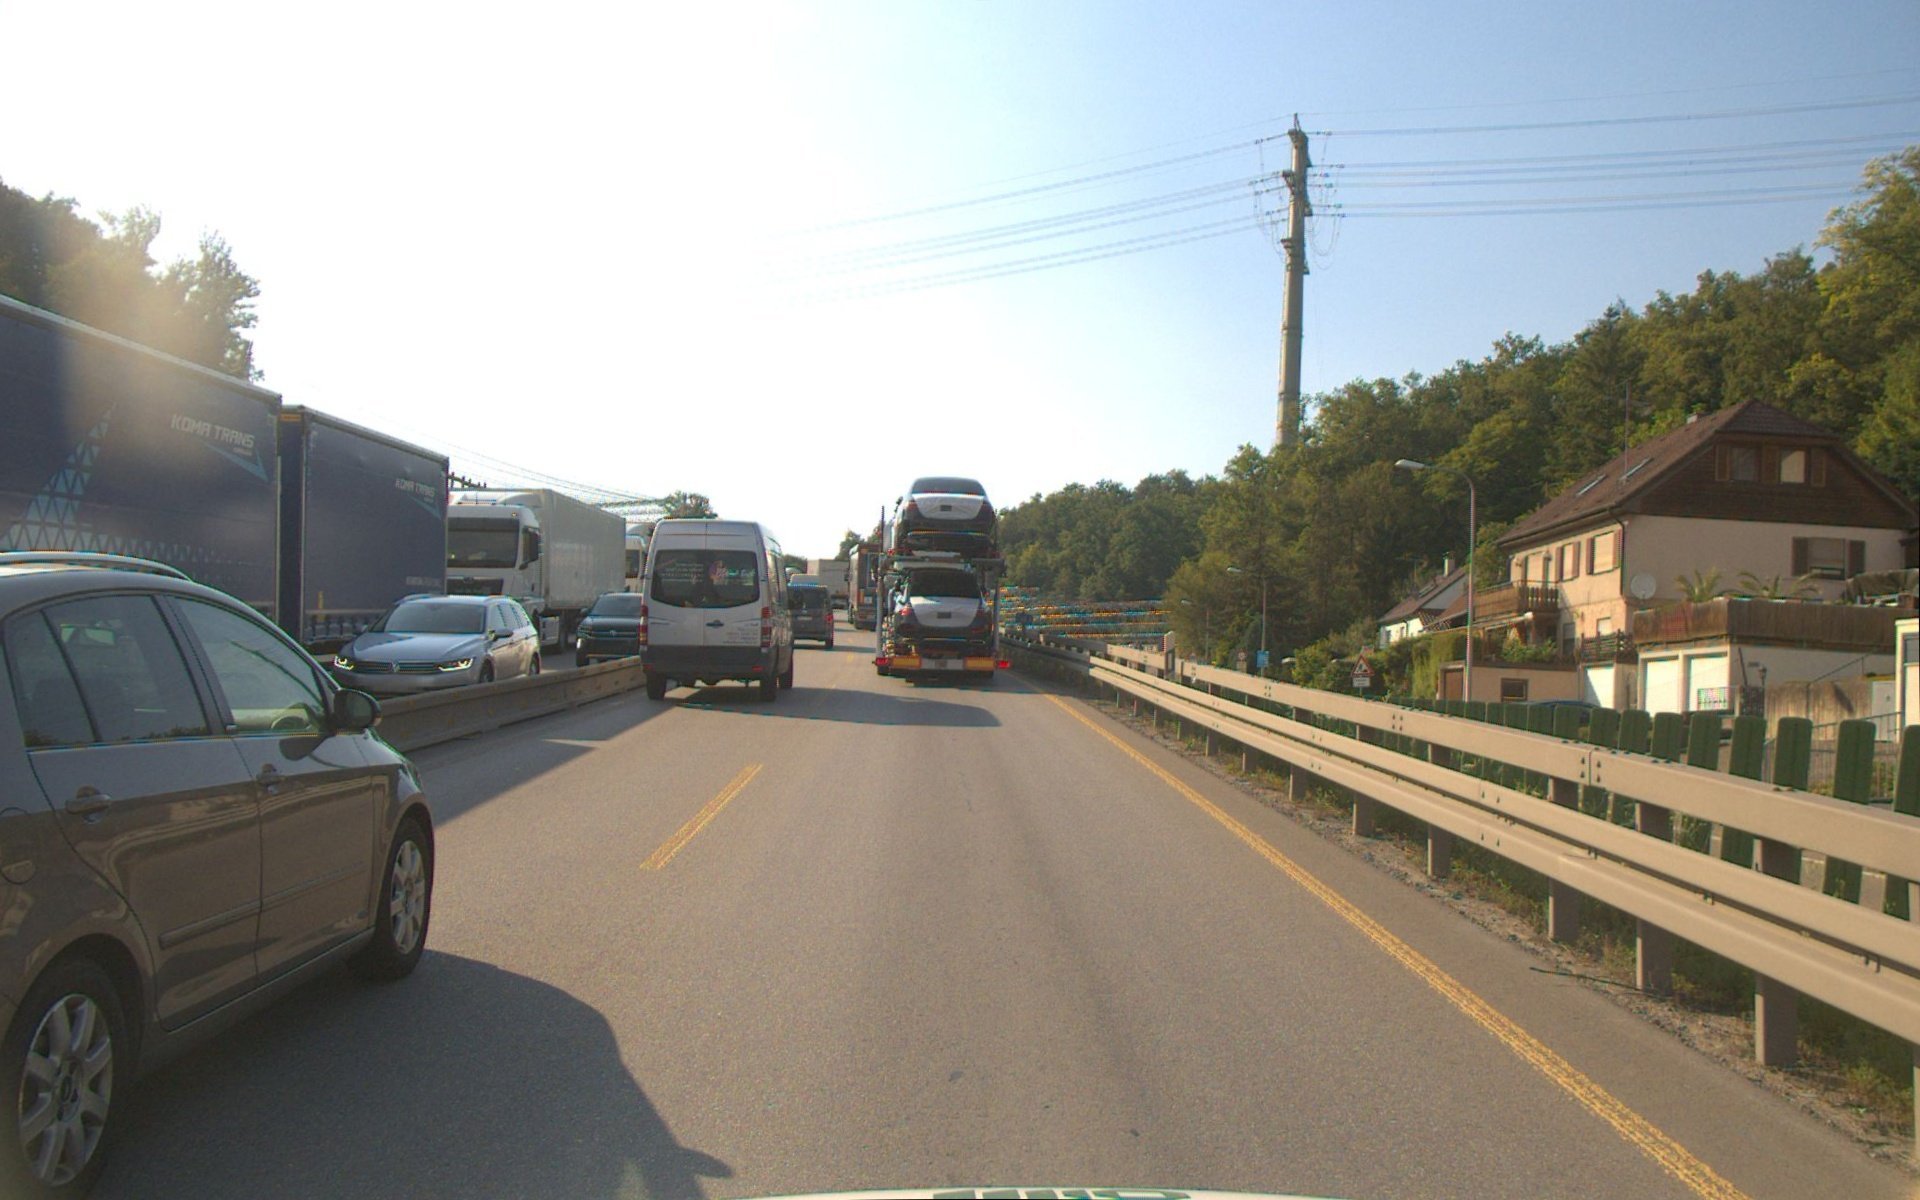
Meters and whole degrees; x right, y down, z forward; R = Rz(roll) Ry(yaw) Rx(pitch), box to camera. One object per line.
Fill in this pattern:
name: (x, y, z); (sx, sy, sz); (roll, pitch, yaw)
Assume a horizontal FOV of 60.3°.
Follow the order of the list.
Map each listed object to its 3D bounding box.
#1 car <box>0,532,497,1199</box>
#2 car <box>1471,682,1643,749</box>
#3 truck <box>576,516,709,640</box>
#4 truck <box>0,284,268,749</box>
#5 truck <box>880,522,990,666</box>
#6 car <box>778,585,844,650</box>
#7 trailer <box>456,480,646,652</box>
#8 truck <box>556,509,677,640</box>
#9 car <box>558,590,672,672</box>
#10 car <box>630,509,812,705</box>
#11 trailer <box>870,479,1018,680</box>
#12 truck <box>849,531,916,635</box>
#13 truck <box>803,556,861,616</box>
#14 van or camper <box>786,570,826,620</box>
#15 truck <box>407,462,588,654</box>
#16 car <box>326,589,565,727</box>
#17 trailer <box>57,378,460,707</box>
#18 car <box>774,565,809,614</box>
car: (-2.879, 0.627, 5.211); (1.646, 1.616, 4.271); (2, 0, -1)
car: (16.080, 3.116, 44.662); (3.907, 1.467, 1.890); (4, -3, -1)
truck: (-12.595, -0.758, 67.305); (2.924, 4.225, 15.844); (4, -1, -3)
truck: (-9.987, -0.758, 16.282); (2.571, 4.184, 9.623); (1, 0, -2)
truck: (-0.801, -0.083, 45.058); (2.629, 3.597, 7.187); (1, -1, -4)
car: (-4.855, 0.615, 54.484); (1.772, 1.937, 3.998); (4, -2, -1)
trailer: (-11.517, -0.746, 48.045); (2.656, 4.164, 12.560); (4, -1, -3)
truck: (-12.249, -0.837, 59.649); (2.924, 4.225, 7.387); (4, -1, -3)
car: (-7.474, 0.683, 36.197); (1.628, 1.556, 3.998); (4, -1, -1)
car: (-3.668, 0.114, 26.434); (1.953, 2.694, 5.530); (3, 0, 0)
trailer: (-0.438, -0.217, 37.489); (2.628, 3.597, 15.283); (1, -1, -1)
truck: (-3.775, -0.751, 80.675); (2.850, 4.687, 7.282); (3, -1, -3)
truck: (-11.128, -1.129, 142.555); (3.990, 4.761, 10.571); (3, -1, -8)
van or camper: (-8.933, -0.248, 96.152); (1.929, 2.636, 5.038); (4, -1, -3)
truck: (-11.189, -0.896, 40.626); (2.656, 4.164, 6.199); (4, -1, -3)
car: (-6.654, 0.740, 21.913); (1.736, 1.564, 4.401); (3, -1, 0)
trailer: (-10.406, -0.736, 25.936); (2.553, 4.184, 9.622); (0, 0, -2)
car: (-18.900, -1.179, 184.842); (3.380, 5.122, 9.637); (4, 0, -7)
